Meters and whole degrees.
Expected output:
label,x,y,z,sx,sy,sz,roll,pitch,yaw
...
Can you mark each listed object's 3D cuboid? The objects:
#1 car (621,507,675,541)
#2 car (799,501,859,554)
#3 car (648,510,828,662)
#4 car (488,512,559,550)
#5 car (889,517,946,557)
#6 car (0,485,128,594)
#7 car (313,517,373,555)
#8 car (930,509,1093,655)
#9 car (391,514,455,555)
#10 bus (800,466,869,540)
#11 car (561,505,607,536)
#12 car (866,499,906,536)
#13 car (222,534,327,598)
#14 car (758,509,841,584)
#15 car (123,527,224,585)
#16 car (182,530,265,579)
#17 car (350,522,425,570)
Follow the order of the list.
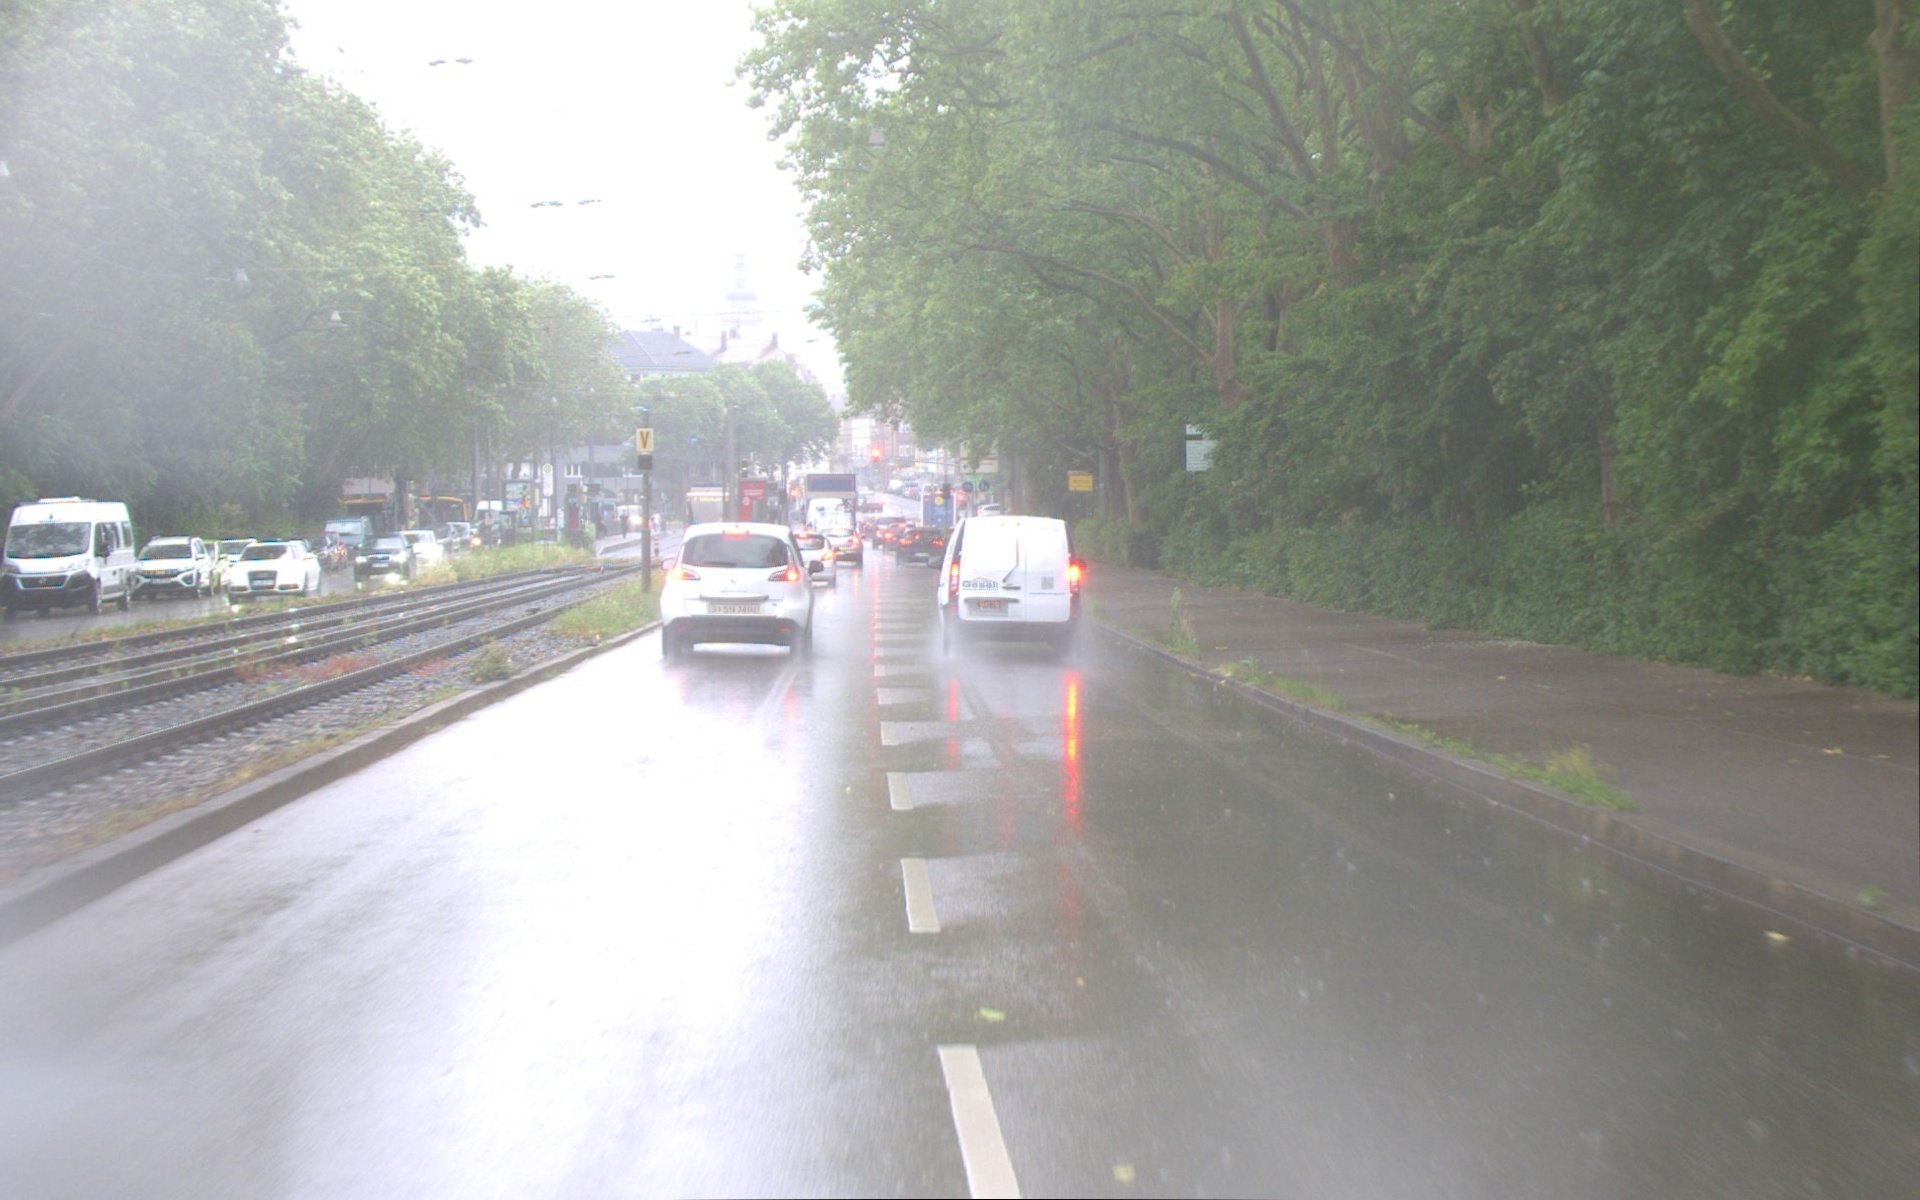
label,x,y,z,sx,sy,sz,roll,pitch,yaw
car,-14.091,-3.450,155.546,1.805,1.345,4.264,-2,2,3
car,-4.732,-2.629,124.476,1.993,1.820,4.001,1,2,0
car,-2.723,-0.217,42.952,1.993,1.711,4.001,1,2,0
car,-17.331,-2.749,136.557,1.805,1.345,4.263,-2,2,6
car,-1.508,-2.283,123.473,1.993,1.316,4.001,1,2,0
car,-19.444,-1.349,74.632,1.800,2.214,4.278,-2,2,-2
car,-25.032,-2.613,139.614,1.805,1.345,4.265,-2,2,-2
car,0.623,-0.269,44.611,1.993,1.720,4.001,1,2,0
car,-19.751,-2.407,126.478,1.805,1.345,4.265,-2,2,-2
bus,-6.757,-5.287,186.118,3.389,3.823,9.740,1,2,0
car,-17.605,-3.743,161.275,1.805,1.345,4.265,-2,2,-2
car,-3.823,-4.307,178.646,1.993,1.820,4.001,1,2,0
car,-16.466,-0.841,82.745,1.805,1.345,4.265,-2,2,-2
car,-4.179,-1.417,89.924,1.993,1.820,4.001,1,2,0
car,-20.732,-1.185,90.726,1.805,1.345,4.265,-2,2,-2
car,-23.138,-1.454,108.129,1.805,1.345,4.265,-2,2,-2
car,-18.287,-1.743,109.950,1.805,1.345,4.265,-2,2,-2
